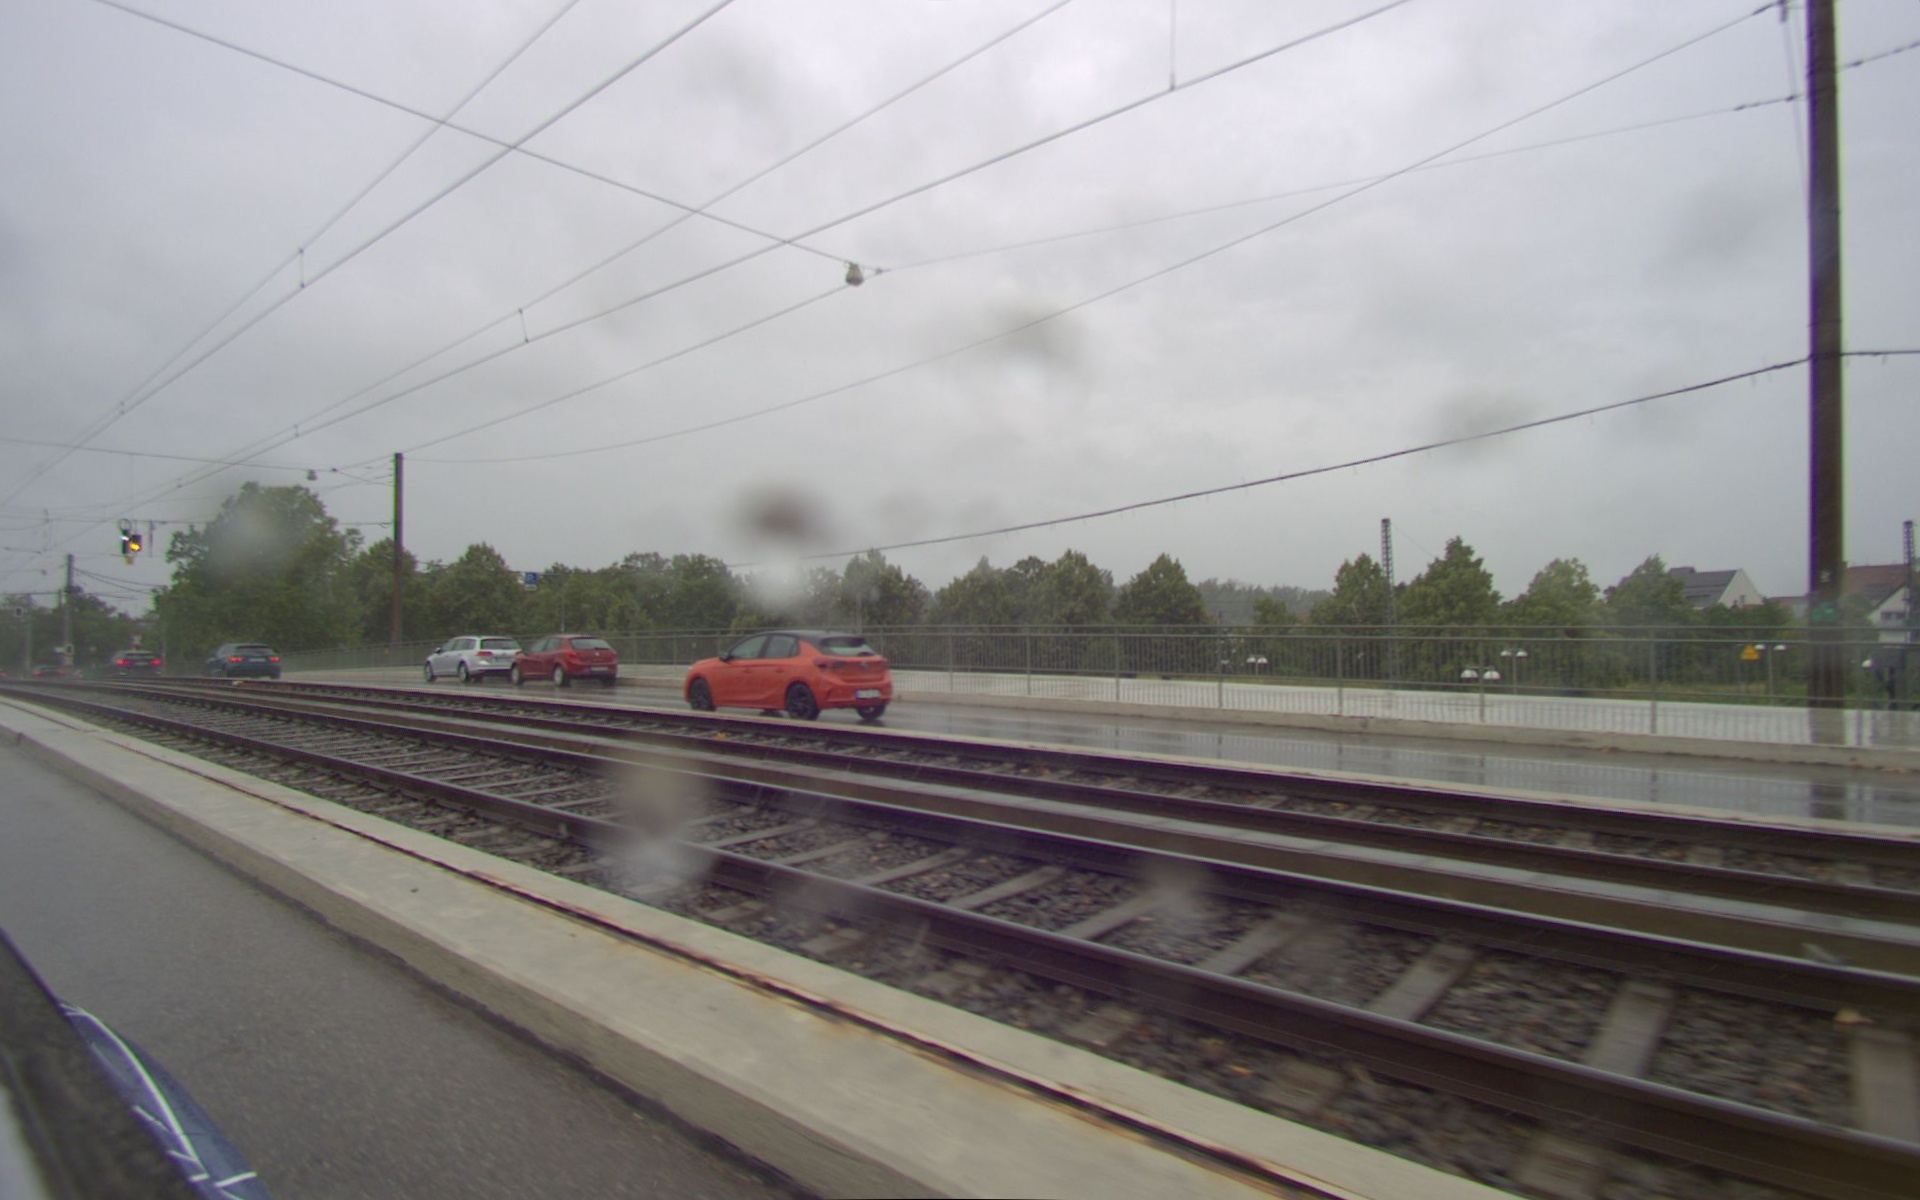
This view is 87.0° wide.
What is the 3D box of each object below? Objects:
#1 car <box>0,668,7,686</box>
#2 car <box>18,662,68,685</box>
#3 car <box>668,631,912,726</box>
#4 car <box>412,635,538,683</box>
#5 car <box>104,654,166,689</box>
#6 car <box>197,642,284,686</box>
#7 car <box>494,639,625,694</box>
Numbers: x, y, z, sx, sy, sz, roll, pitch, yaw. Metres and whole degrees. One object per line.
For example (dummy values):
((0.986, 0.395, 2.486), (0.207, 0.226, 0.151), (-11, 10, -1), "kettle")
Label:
((-82.687, 6.490, 85.778), (5.107, 1.521, 1.974), (-2, -4, 39), "car")
((-63.619, 5.093, 70.177), (4.088, 1.521, 1.973), (-3, -4, 40), "car")
((-2.891, 1.232, 16.733), (4.082, 1.326, 1.780), (-3, -1, 41), "car")
((-15.808, 1.919, 32.902), (4.616, 1.467, 1.973), (-3, -4, 40), "car")
((-42.190, 3.623, 51.723), (3.998, 1.667, 1.799), (-3, -1, 41), "car")
((-27.166, 2.380, 38.145), (4.082, 1.493, 1.780), (-3, -1, 41), "car")
((-11.477, 1.884, 28.886), (4.319, 1.467, 1.604), (-3, -4, 40), "car")
